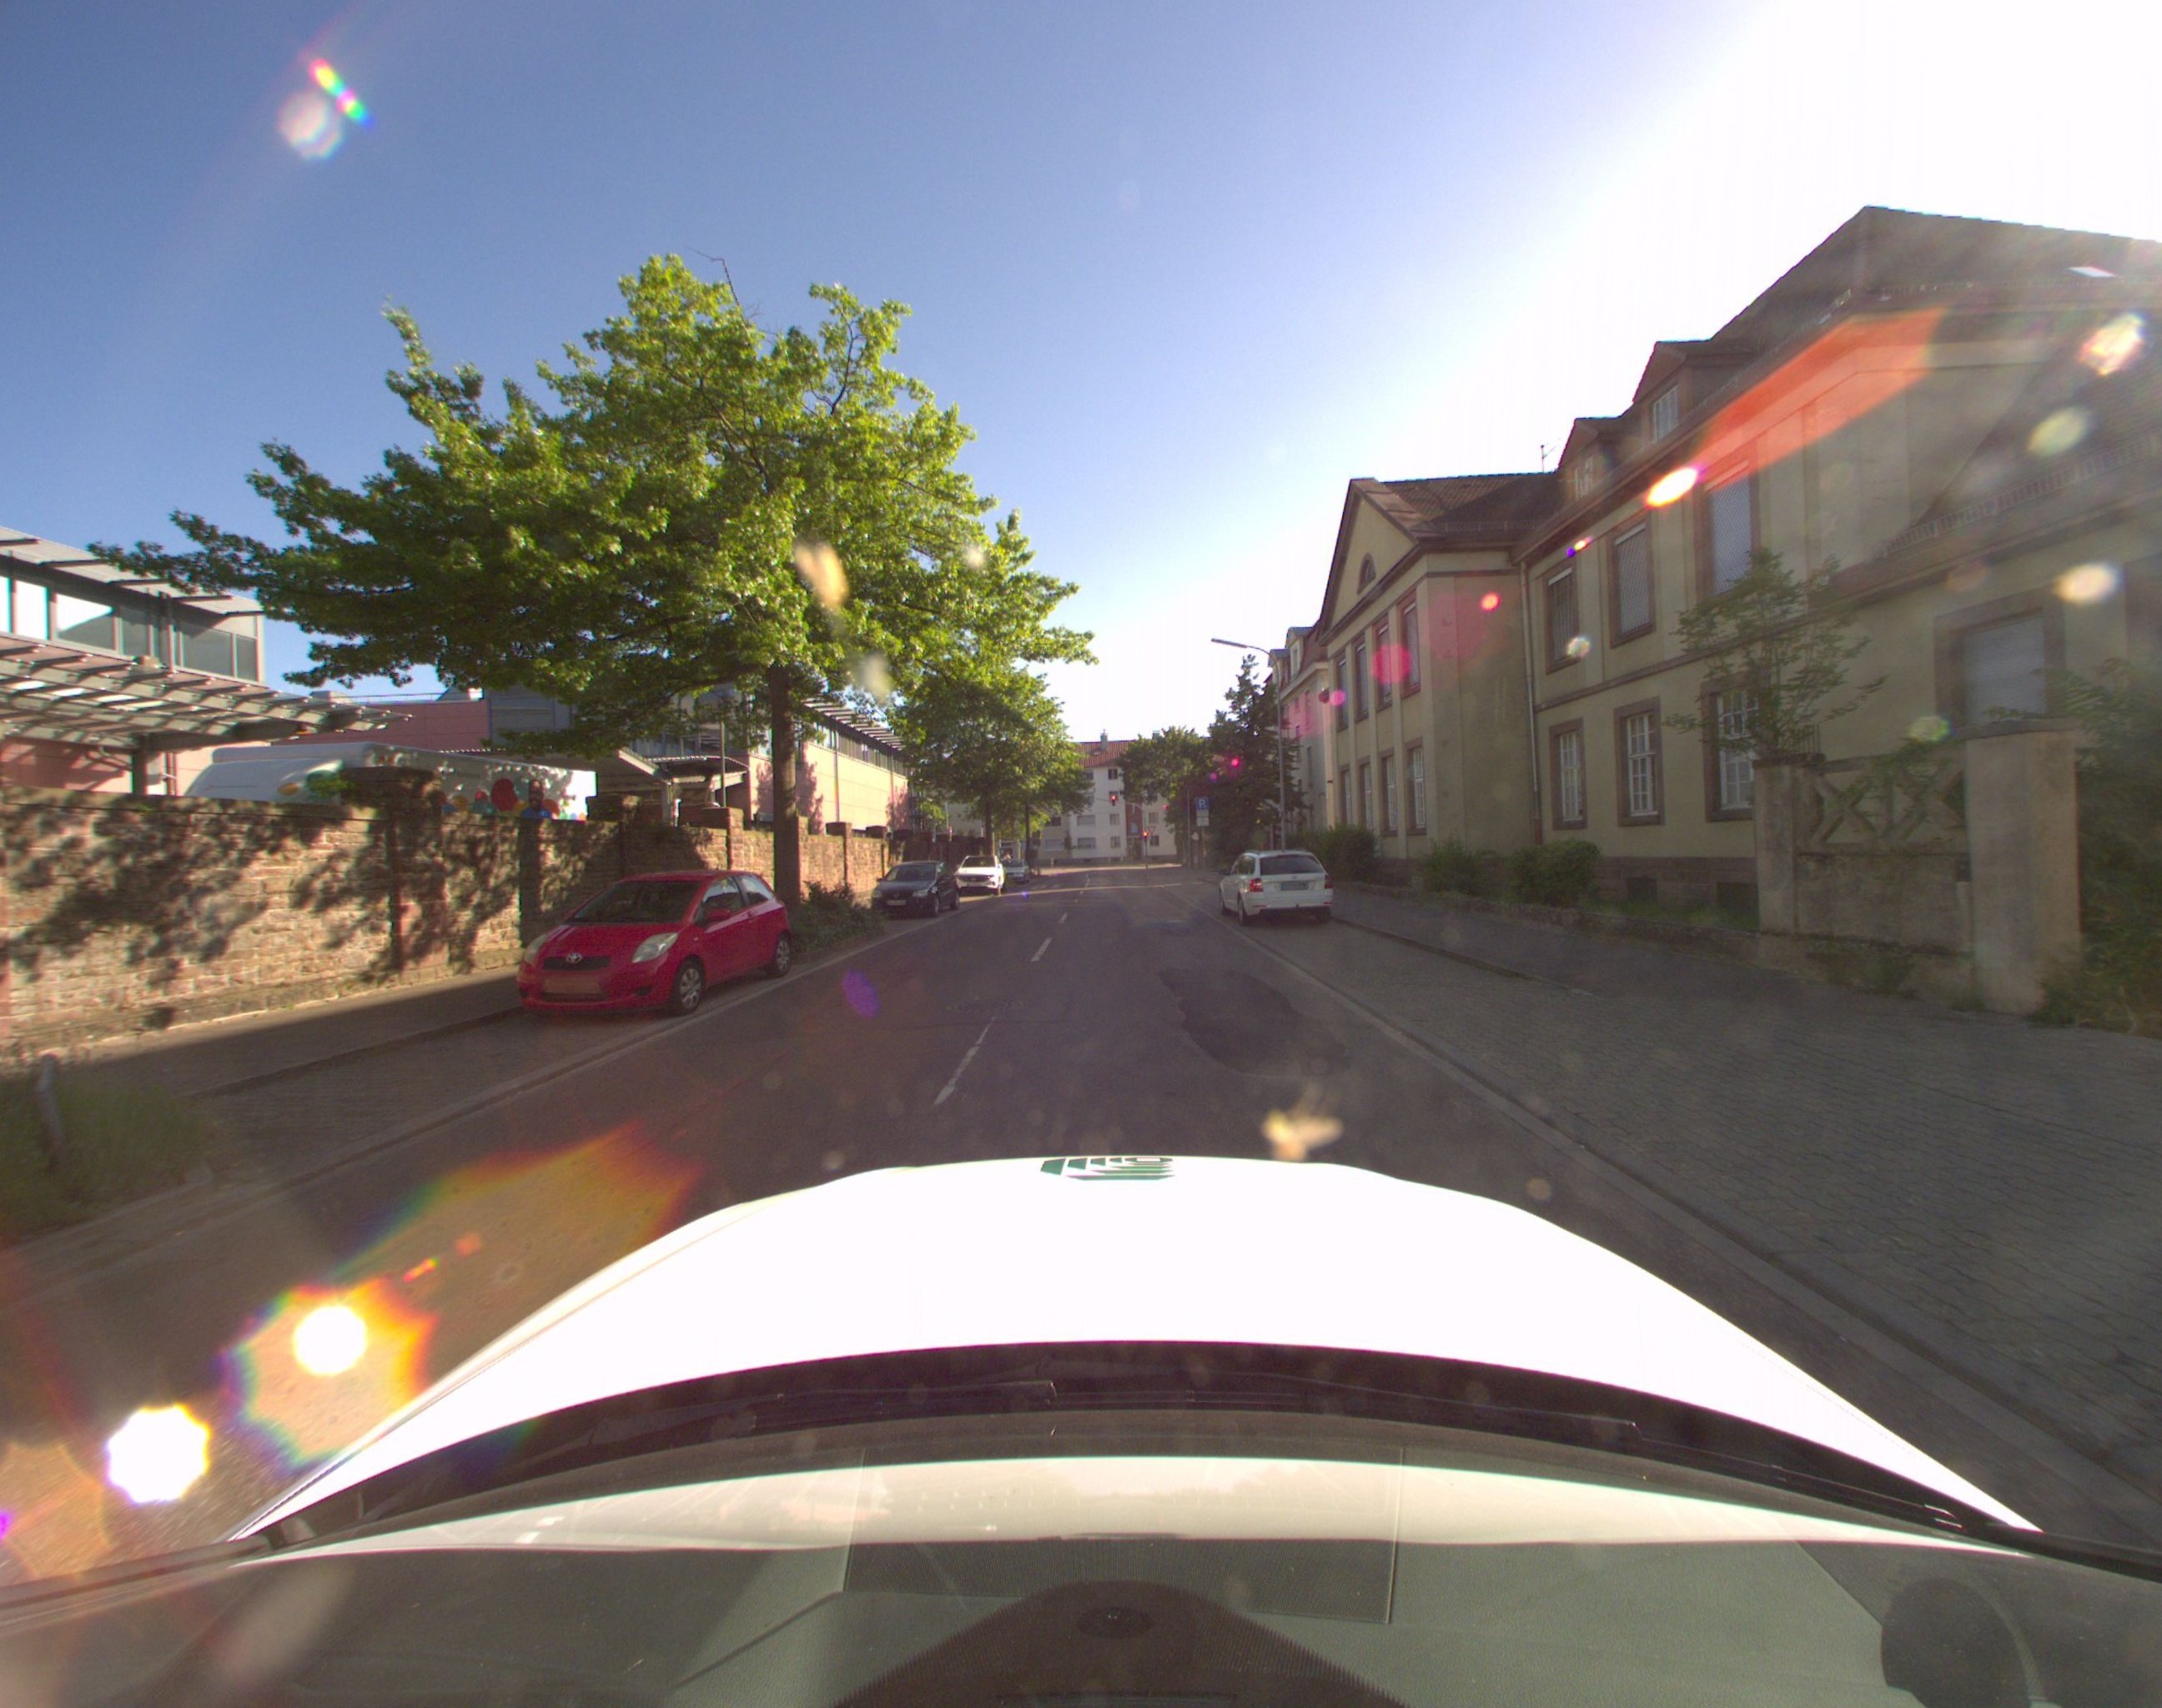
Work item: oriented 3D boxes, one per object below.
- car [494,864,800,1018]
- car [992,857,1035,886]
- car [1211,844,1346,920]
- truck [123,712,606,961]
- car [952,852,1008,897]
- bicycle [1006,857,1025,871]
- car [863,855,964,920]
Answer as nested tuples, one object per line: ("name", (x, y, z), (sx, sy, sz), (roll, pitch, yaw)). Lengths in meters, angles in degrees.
("car", (-4.923, 0.886, 9.879), (1.602, 1.459, 3.710), (0, 0, 2))
("car", (-3.741, 0.952, 45.716), (1.719, 1.475, 4.482), (0, 0, 4))
("car", (4.007, 0.510, 17.288), (1.826, 1.323, 4.497), (-3, 0, 1))
("truck", (-12.910, -0.264, 15.914), (2.722, 3.711, 7.430), (0, 0, 1))
("car", (-4.118, 0.783, 33.790), (1.714, 1.683, 4.351), (-2, 0, 0))
("bicycle", (-5.340, 0.802, 66.414), (1.698, 1.080, 0.347), (-1, 0, -40))
("car", (-4.604, 0.871, 22.973), (1.730, 1.592, 4.110), (-2, 0, 3))
